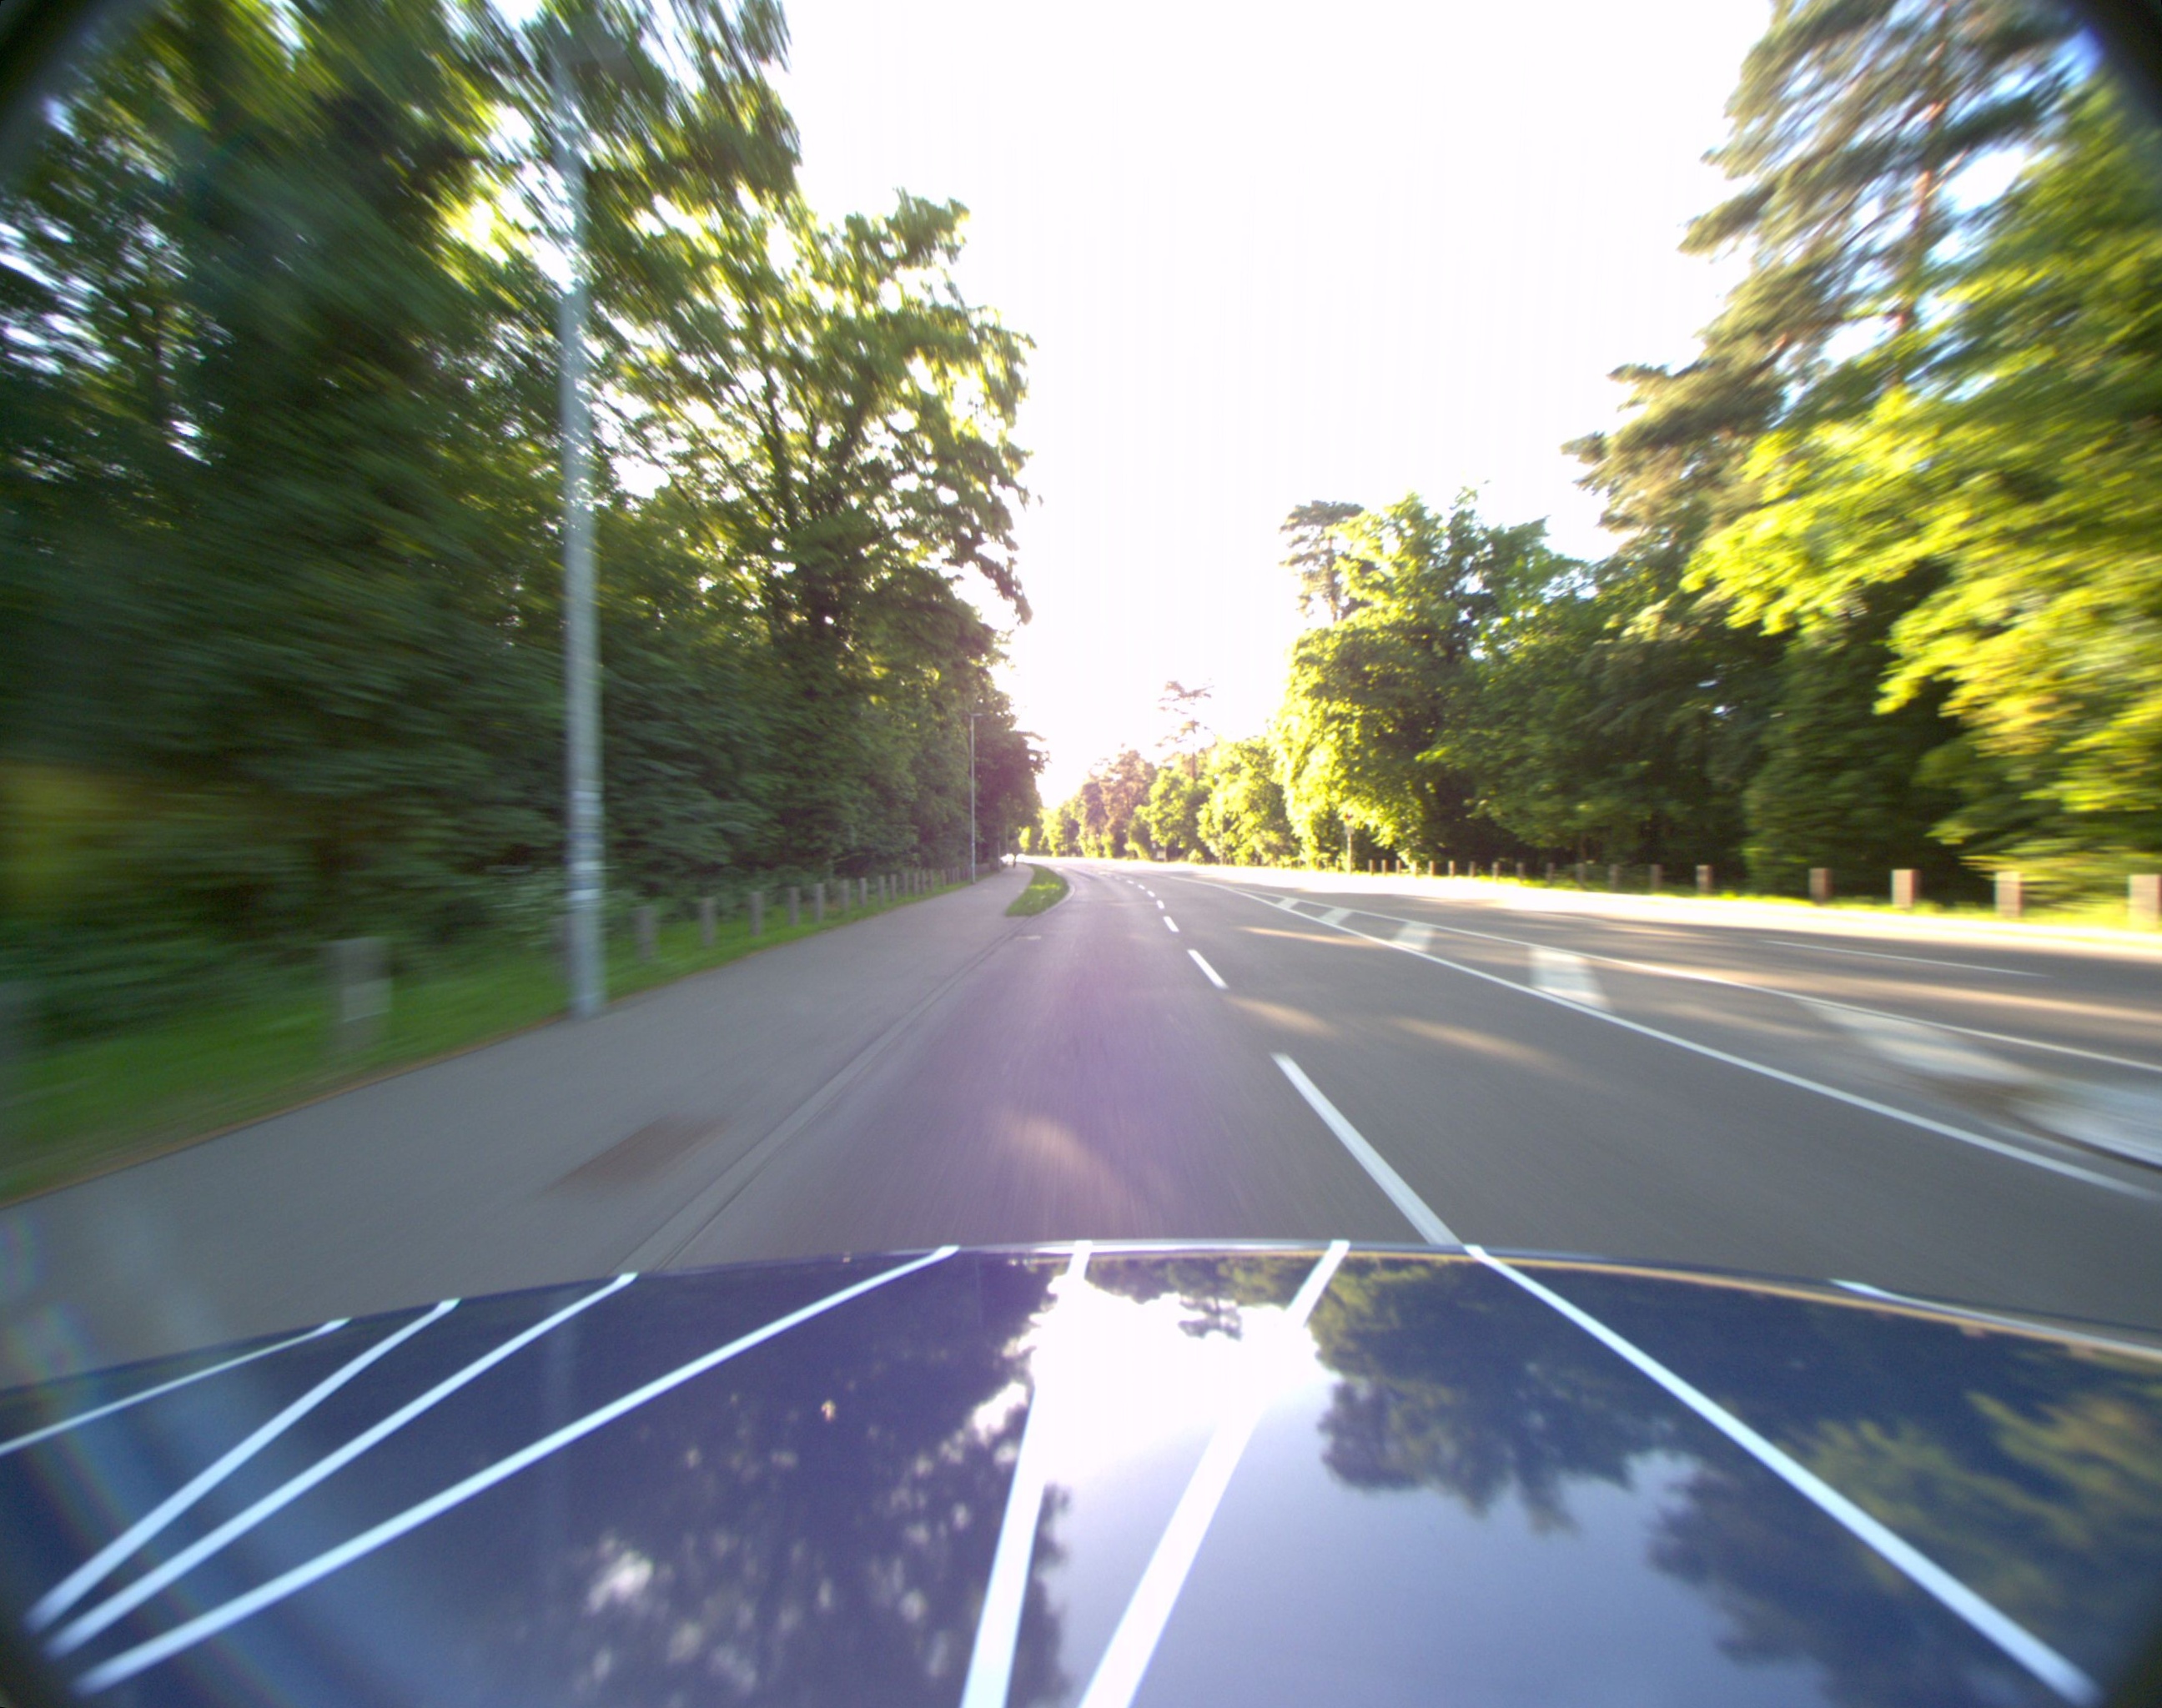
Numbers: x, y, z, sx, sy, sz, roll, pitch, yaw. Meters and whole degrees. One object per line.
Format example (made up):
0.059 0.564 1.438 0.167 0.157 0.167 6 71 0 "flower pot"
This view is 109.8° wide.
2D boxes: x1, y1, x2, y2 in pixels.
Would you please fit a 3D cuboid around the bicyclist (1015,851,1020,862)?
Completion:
-7.151 0.296 85.343 0.514 1.260 0.497 -1 1 -5 "bicyclist"

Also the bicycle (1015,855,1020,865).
-7.129 0.671 85.253 0.608 1.051 2.873 -1 0 -5 "bicycle"
